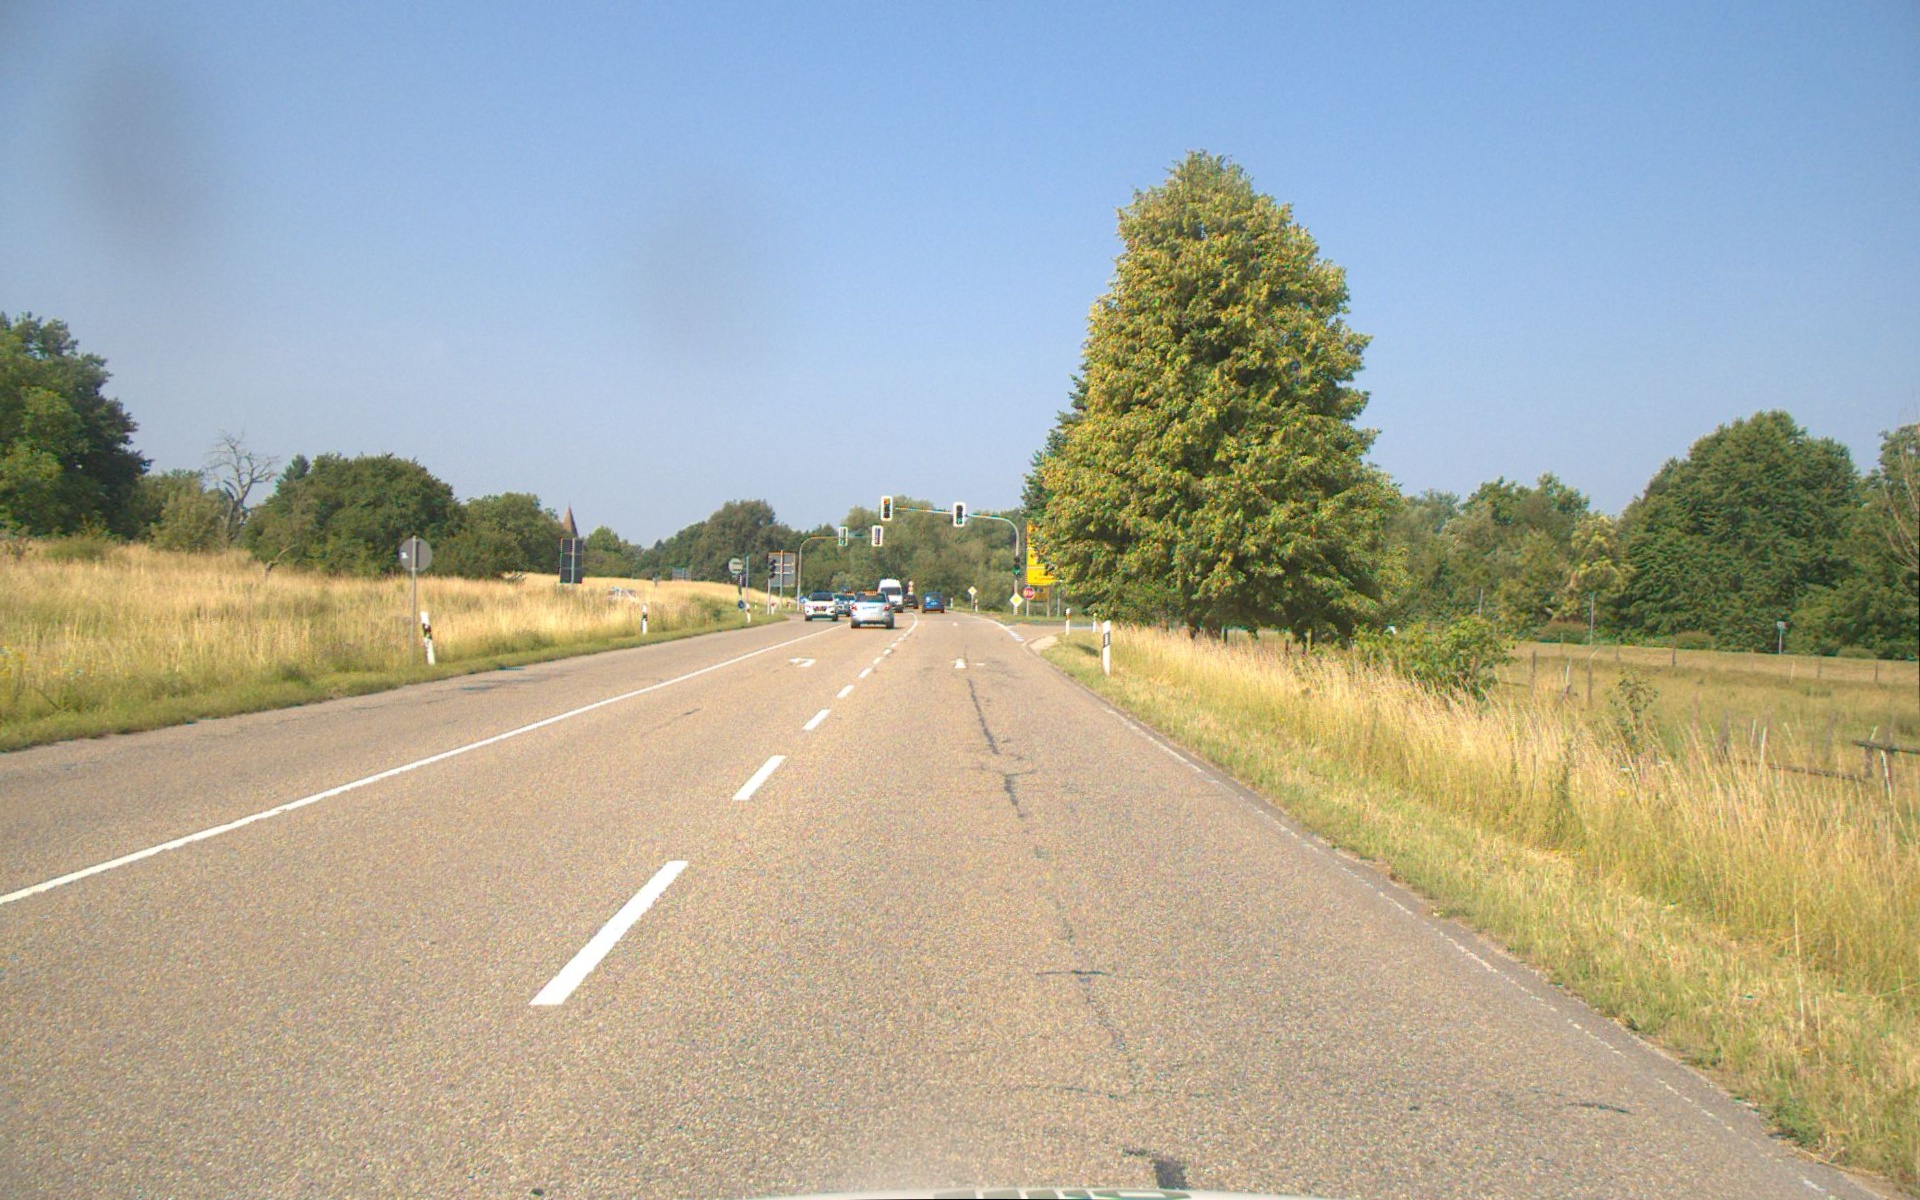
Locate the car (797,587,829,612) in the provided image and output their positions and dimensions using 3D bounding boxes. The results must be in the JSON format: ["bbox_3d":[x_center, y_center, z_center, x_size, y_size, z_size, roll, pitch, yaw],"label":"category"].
[{"bbox_3d":[-11.106,-0.052,125.207,1.893,1.757,4.001,4,0,2],"label":"car"}]

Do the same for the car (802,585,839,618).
[{"bbox_3d":[-8.018,0.090,95.047,1.559,1.757,4.001,4,0,2],"label":"car"}]

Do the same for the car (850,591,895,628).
[{"bbox_3d":[-3.946,0.422,74.032,1.862,1.538,3.997,2,0,-4],"label":"car"}]

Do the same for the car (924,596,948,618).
[{"bbox_3d":[-1.939,0.555,132.774,1.779,1.547,3.999,4,0,-1],"label":"car"}]

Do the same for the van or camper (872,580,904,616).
[{"bbox_3d":[-5.971,-0.181,137.072,2.219,2.756,5.262,4,0,0],"label":"van or camper"}]

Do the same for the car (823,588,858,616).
[{"bbox_3d":[-8.143,0.118,113.068,1.893,1.757,4.001,4,0,2],"label":"car"}]

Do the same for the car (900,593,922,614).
[{"bbox_3d":[-4.803,0.345,162.676,1.953,1.847,3.999,4,0,-1],"label":"car"}]
